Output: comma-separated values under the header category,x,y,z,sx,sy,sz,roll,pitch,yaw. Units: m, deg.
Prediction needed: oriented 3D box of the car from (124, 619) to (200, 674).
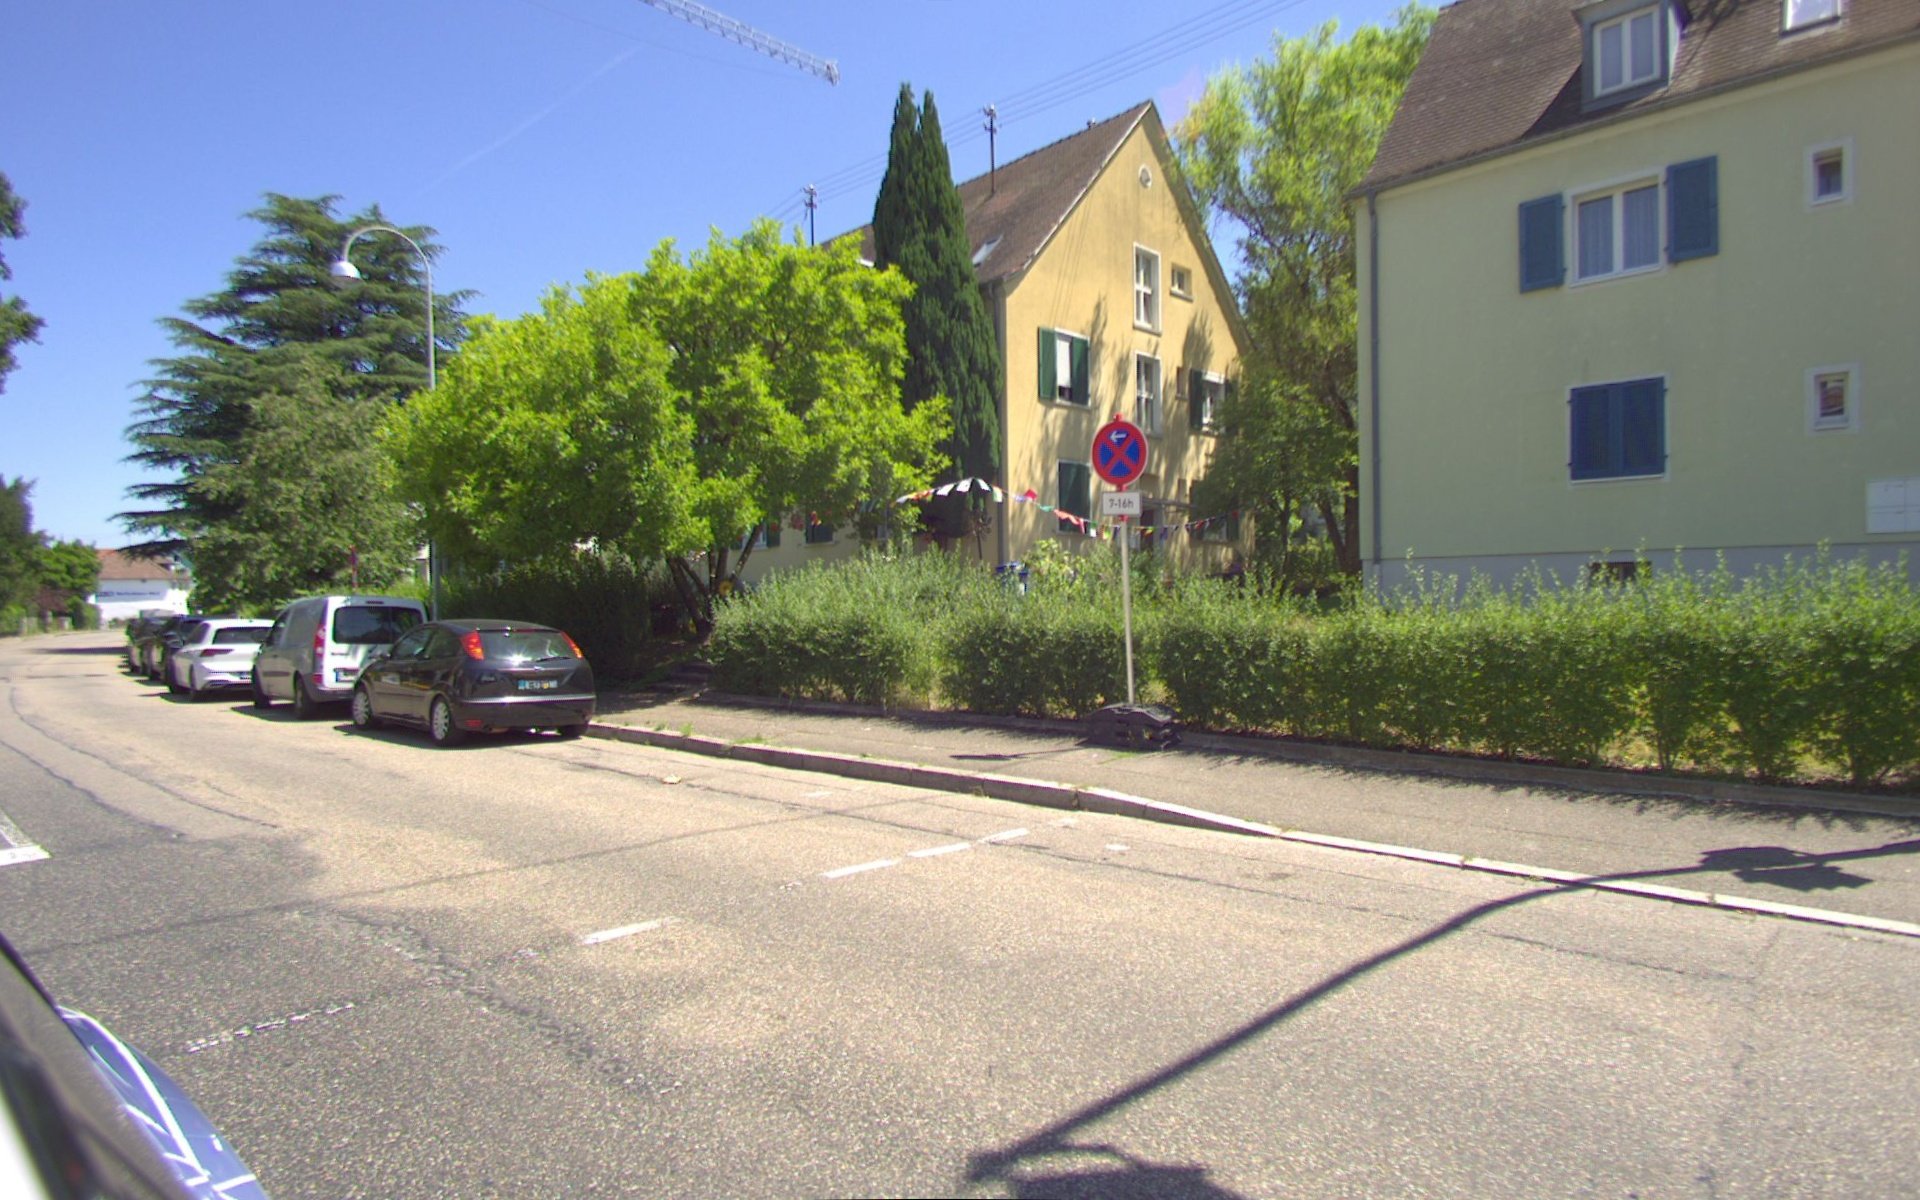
category,x,y,z,sx,sy,sz,roll,pitch,yaw
car,-25.241,1.426,31.971,1.660,1.652,3.795,1,-2,-42

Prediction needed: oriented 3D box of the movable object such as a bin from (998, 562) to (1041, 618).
category,x,y,z,sx,sy,sz,roll,pitch,yaw
movable object such as a bin,1.312,-0.223,22.302,0.674,1.205,0.614,-2,-1,44

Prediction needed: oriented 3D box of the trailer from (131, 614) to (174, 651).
category,x,y,z,sx,sy,sz,roll,pitch,yaw
trailer,-45.871,1.847,57.466,1.791,2.049,4.007,2,-2,-39

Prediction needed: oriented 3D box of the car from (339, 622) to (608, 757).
category,x,y,z,sx,sy,sz,roll,pitch,yaw
car,-6.135,0.987,12.569,3.926,1.423,1.663,-1,-2,42

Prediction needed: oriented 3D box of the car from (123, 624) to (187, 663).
category,x,y,z,sx,sy,sz,roll,pitch,yaw
car,-31.651,1.665,39.757,1.774,1.453,3.790,1,-2,-41

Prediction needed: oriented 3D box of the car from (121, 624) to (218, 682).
category,x,y,z,sx,sy,sz,roll,pitch,yaw
car,-21.959,1.418,28.050,1.661,1.487,4.333,1,-2,-44

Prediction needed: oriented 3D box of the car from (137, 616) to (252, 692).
category,x,y,z,sx,sy,sz,roll,pitch,yaw
car,-18.292,1.228,24.108,1.661,1.649,4.333,1,-2,-44

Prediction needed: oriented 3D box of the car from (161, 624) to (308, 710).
category,x,y,z,sx,sy,sz,roll,pitch,yaw
car,-13.883,1.193,19.279,1.661,1.452,4.250,1,-2,-44

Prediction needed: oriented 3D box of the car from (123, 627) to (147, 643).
category,x,y,z,sx,sy,sz,roll,pitch,yaw
car,-86.076,3.601,105.609,1.875,1.587,4.149,0,-1,-39

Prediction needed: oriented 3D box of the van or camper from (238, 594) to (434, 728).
category,x,y,z,sx,sy,sz,roll,pitch,yaw
van or camper,-9.814,0.883,15.806,3.986,1.818,1.662,-1,-2,44
